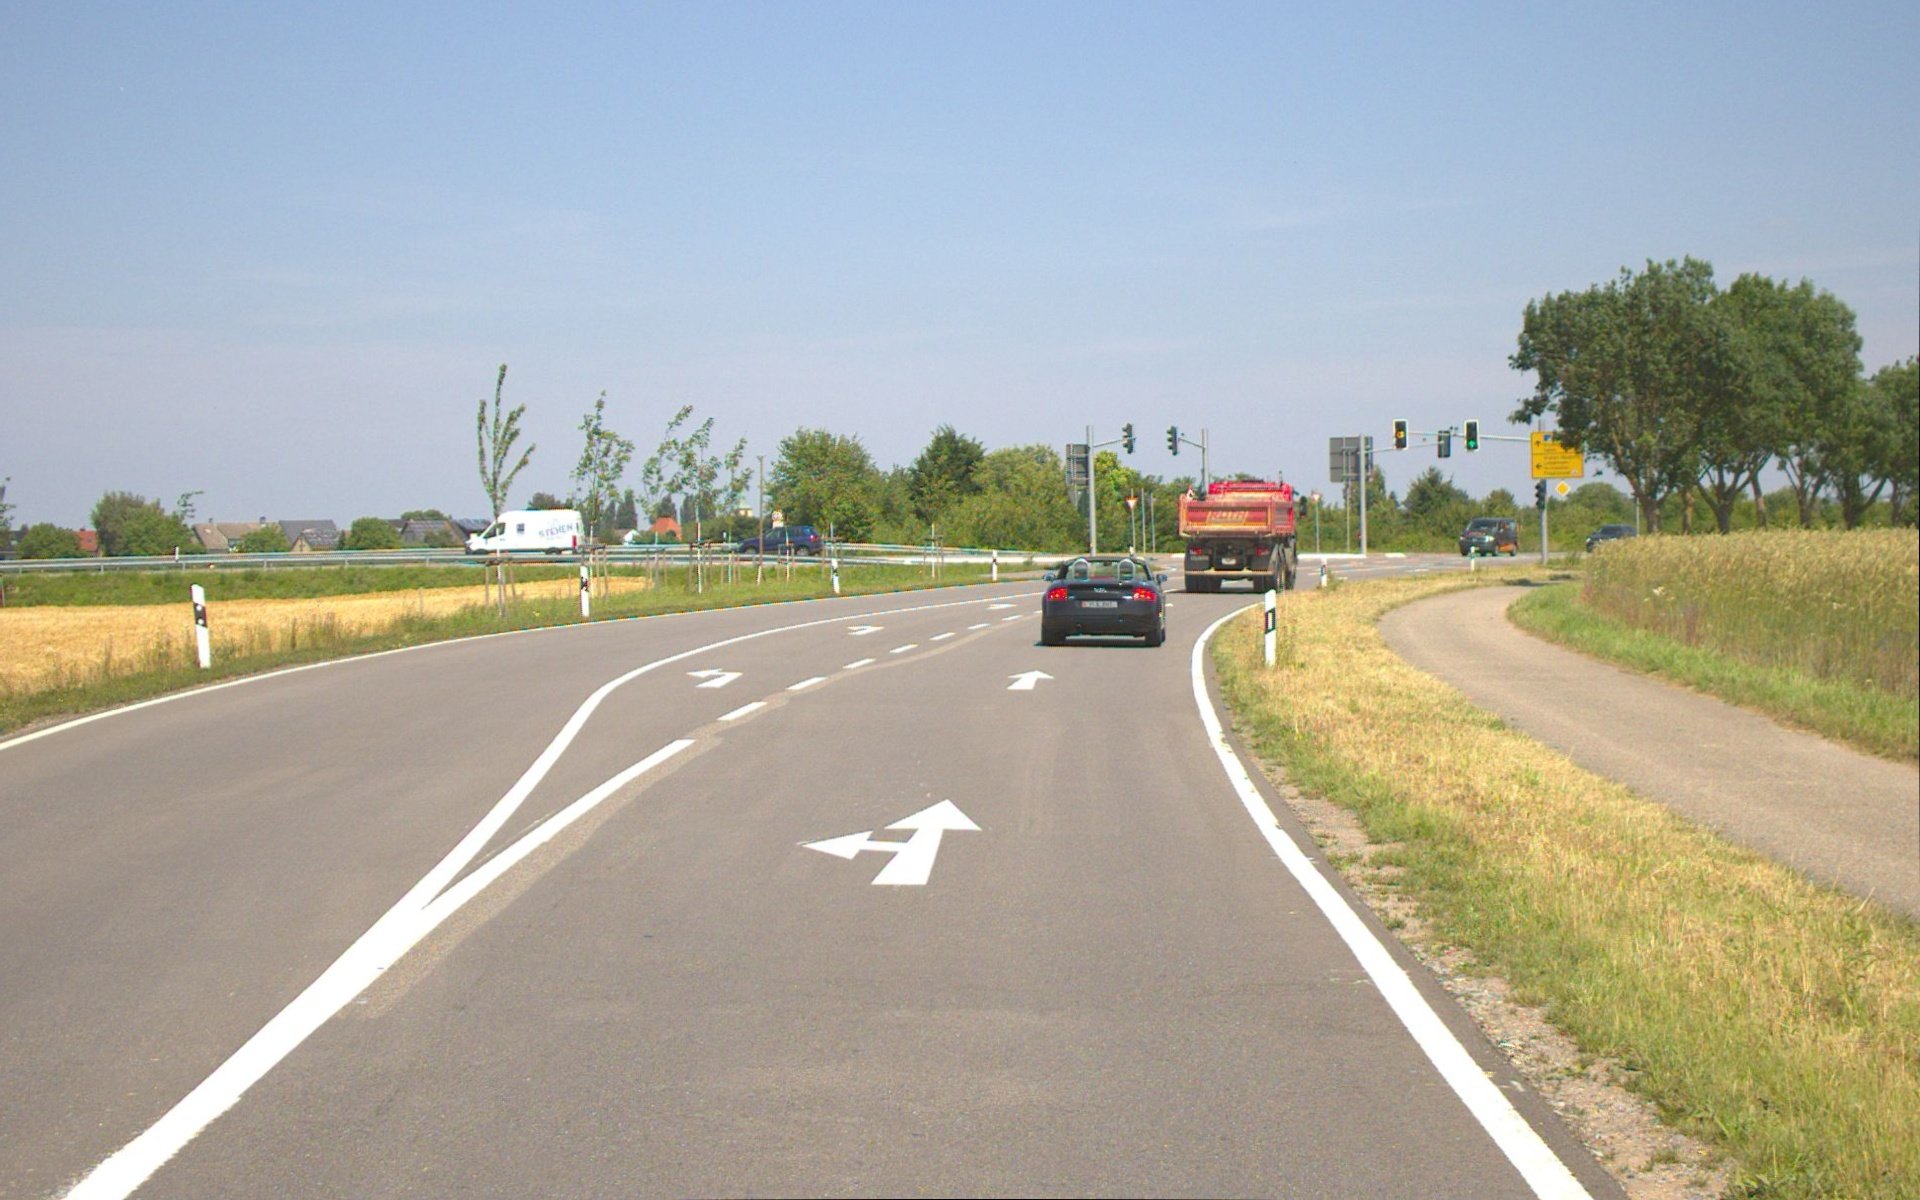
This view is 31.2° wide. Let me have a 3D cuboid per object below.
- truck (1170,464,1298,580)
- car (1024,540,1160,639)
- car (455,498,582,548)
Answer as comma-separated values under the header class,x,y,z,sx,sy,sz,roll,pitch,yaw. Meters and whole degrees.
class,x,y,z,sx,sy,sz,roll,pitch,yaw
truck,7.638,-2.079,94.909,2.715,3.042,8.161,0,0,10
car,1.980,-0.156,50.608,1.748,1.371,3.678,1,0,6
car,-21.958,-3.830,171.103,5.919,2.413,2.247,0,1,7
